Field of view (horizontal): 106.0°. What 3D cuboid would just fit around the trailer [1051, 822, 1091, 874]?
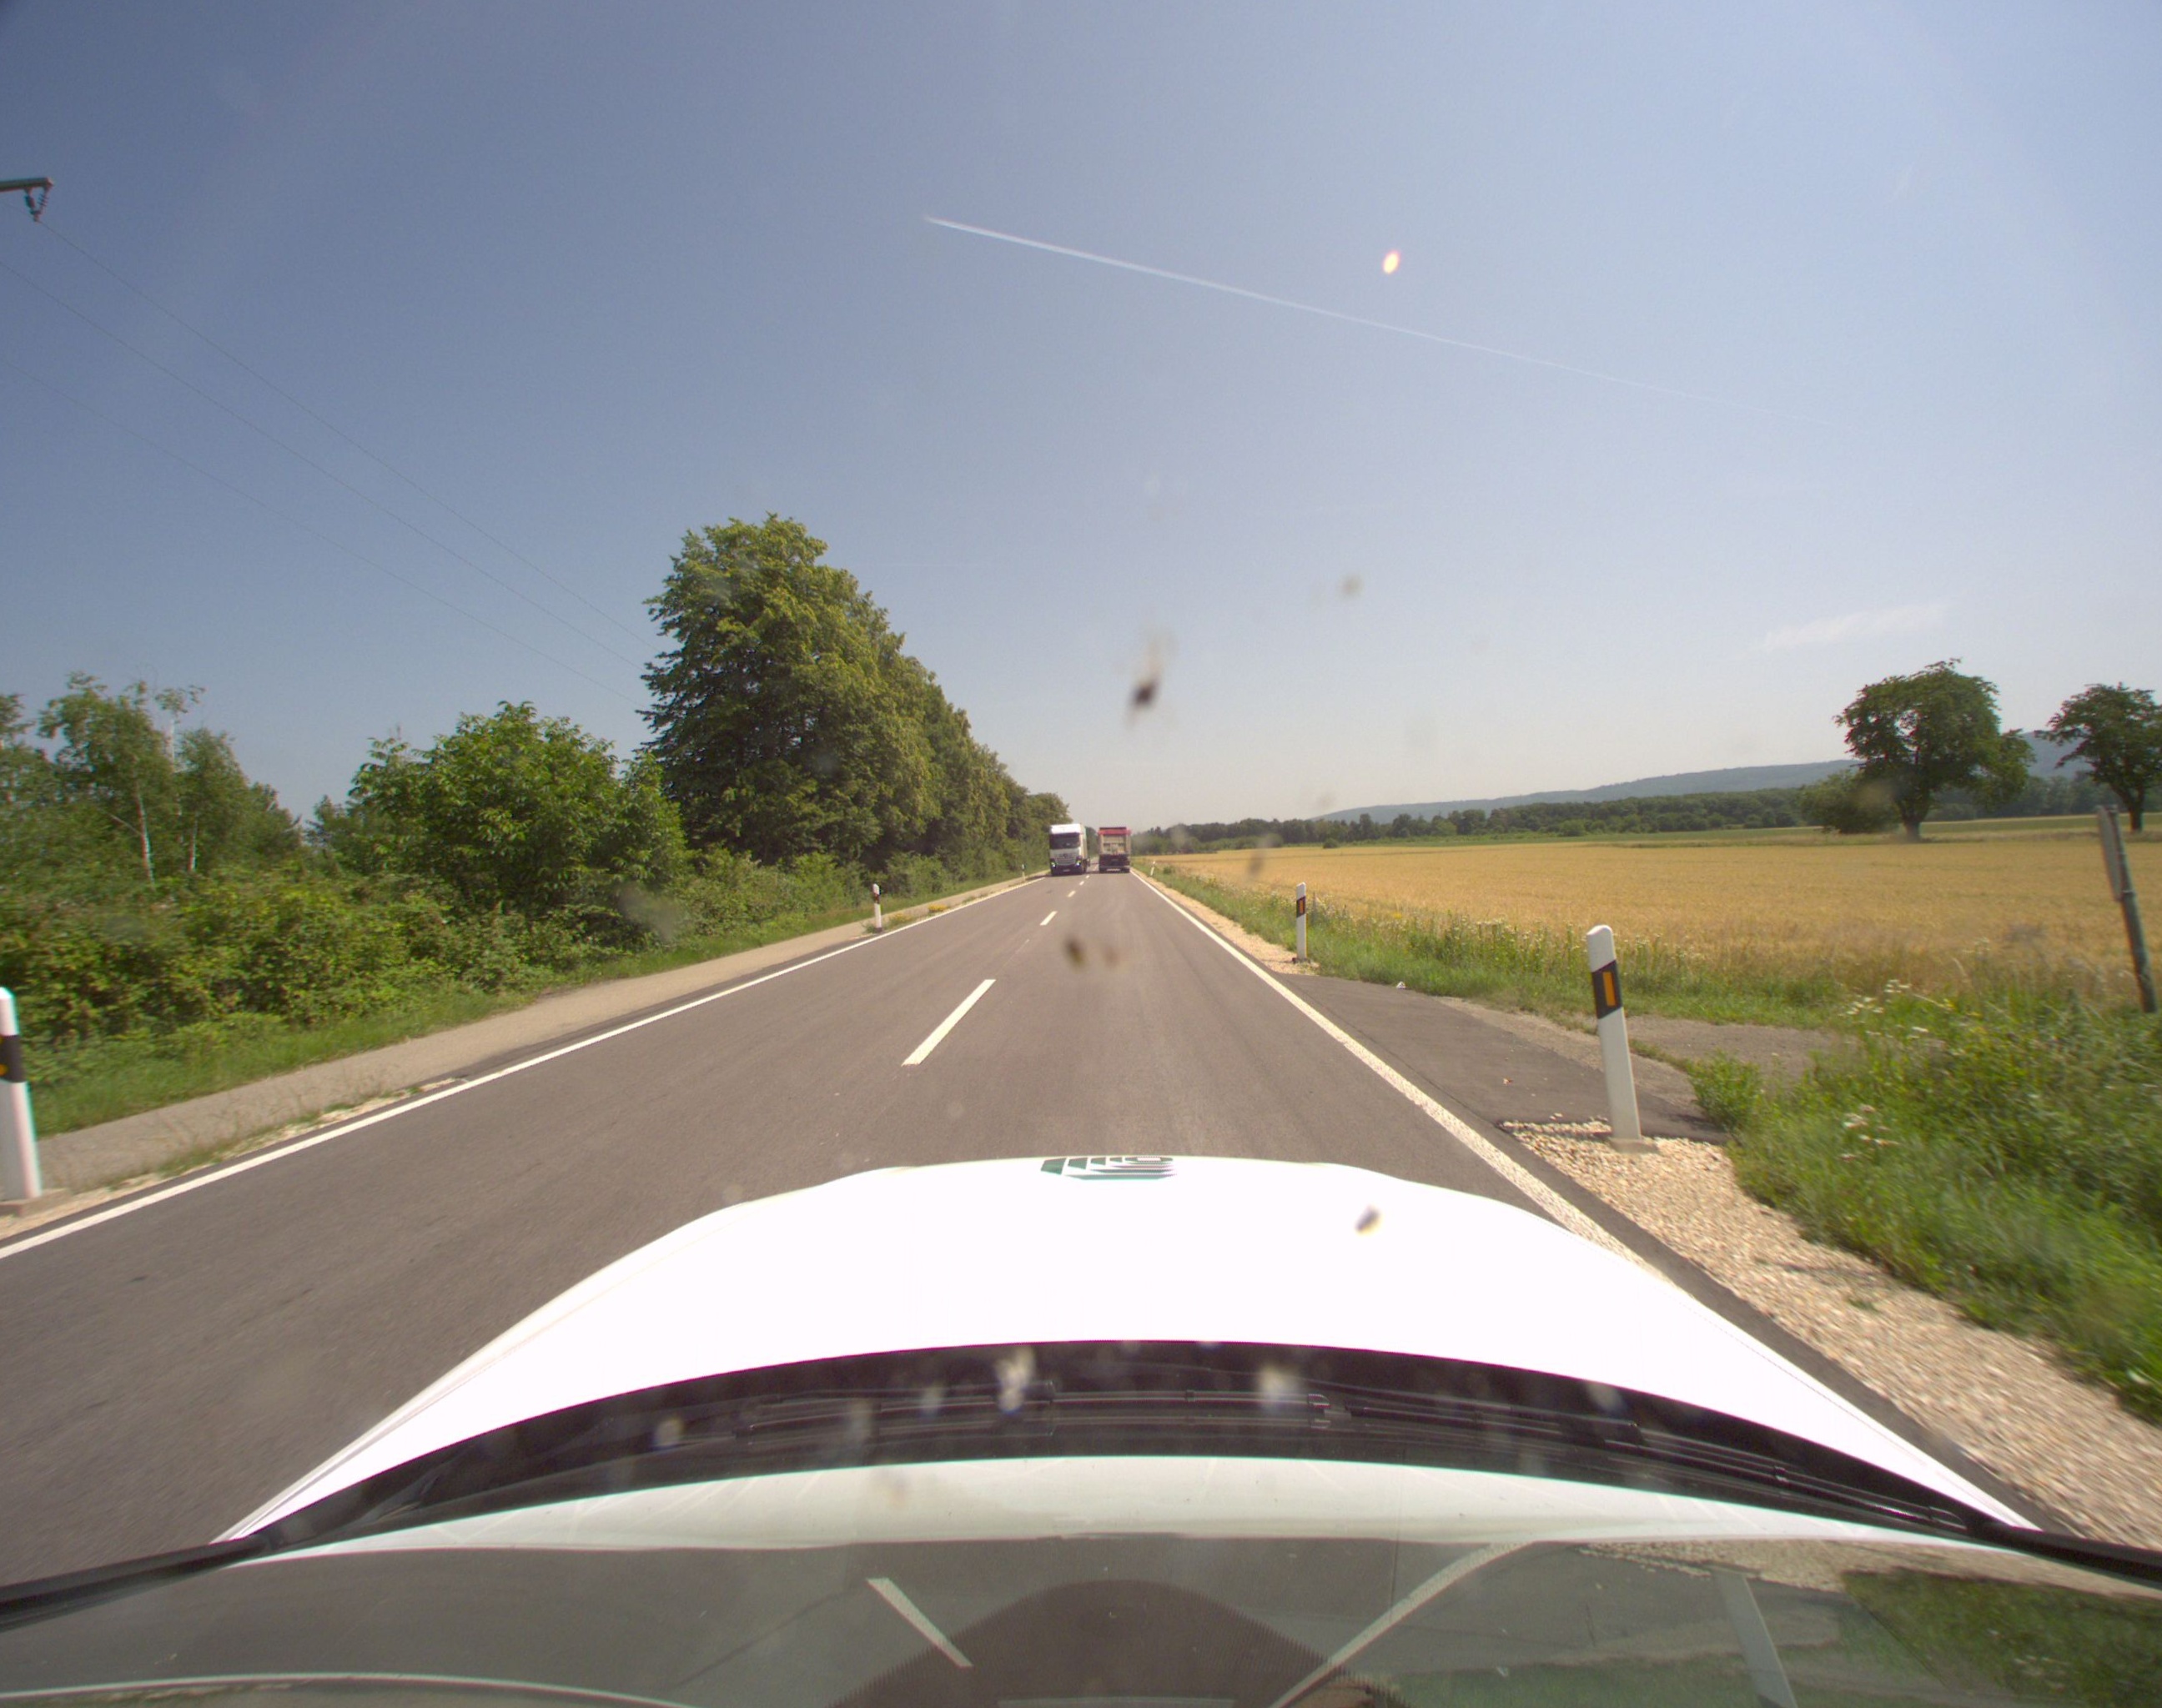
[{"bbox_3d":[-0.738,-0.456,71.372,2.643,3.977,13.360,-3,0,2],"label":"trailer"}]

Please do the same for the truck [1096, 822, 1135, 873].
[{"bbox_3d":[2.895,-0.440,68.955,2.998,3.874,12.214,0,-1,2],"label":"truck"}]

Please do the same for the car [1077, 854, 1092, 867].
[{"bbox_3d":[0.498,0.791,105.474,1.785,1.574,4.480,-3,0,2],"label":"car"}]

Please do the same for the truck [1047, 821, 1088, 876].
[{"bbox_3d":[-0.989,-0.422,64.106,2.646,3.977,5.730,-3,0,2],"label":"truck"}]
